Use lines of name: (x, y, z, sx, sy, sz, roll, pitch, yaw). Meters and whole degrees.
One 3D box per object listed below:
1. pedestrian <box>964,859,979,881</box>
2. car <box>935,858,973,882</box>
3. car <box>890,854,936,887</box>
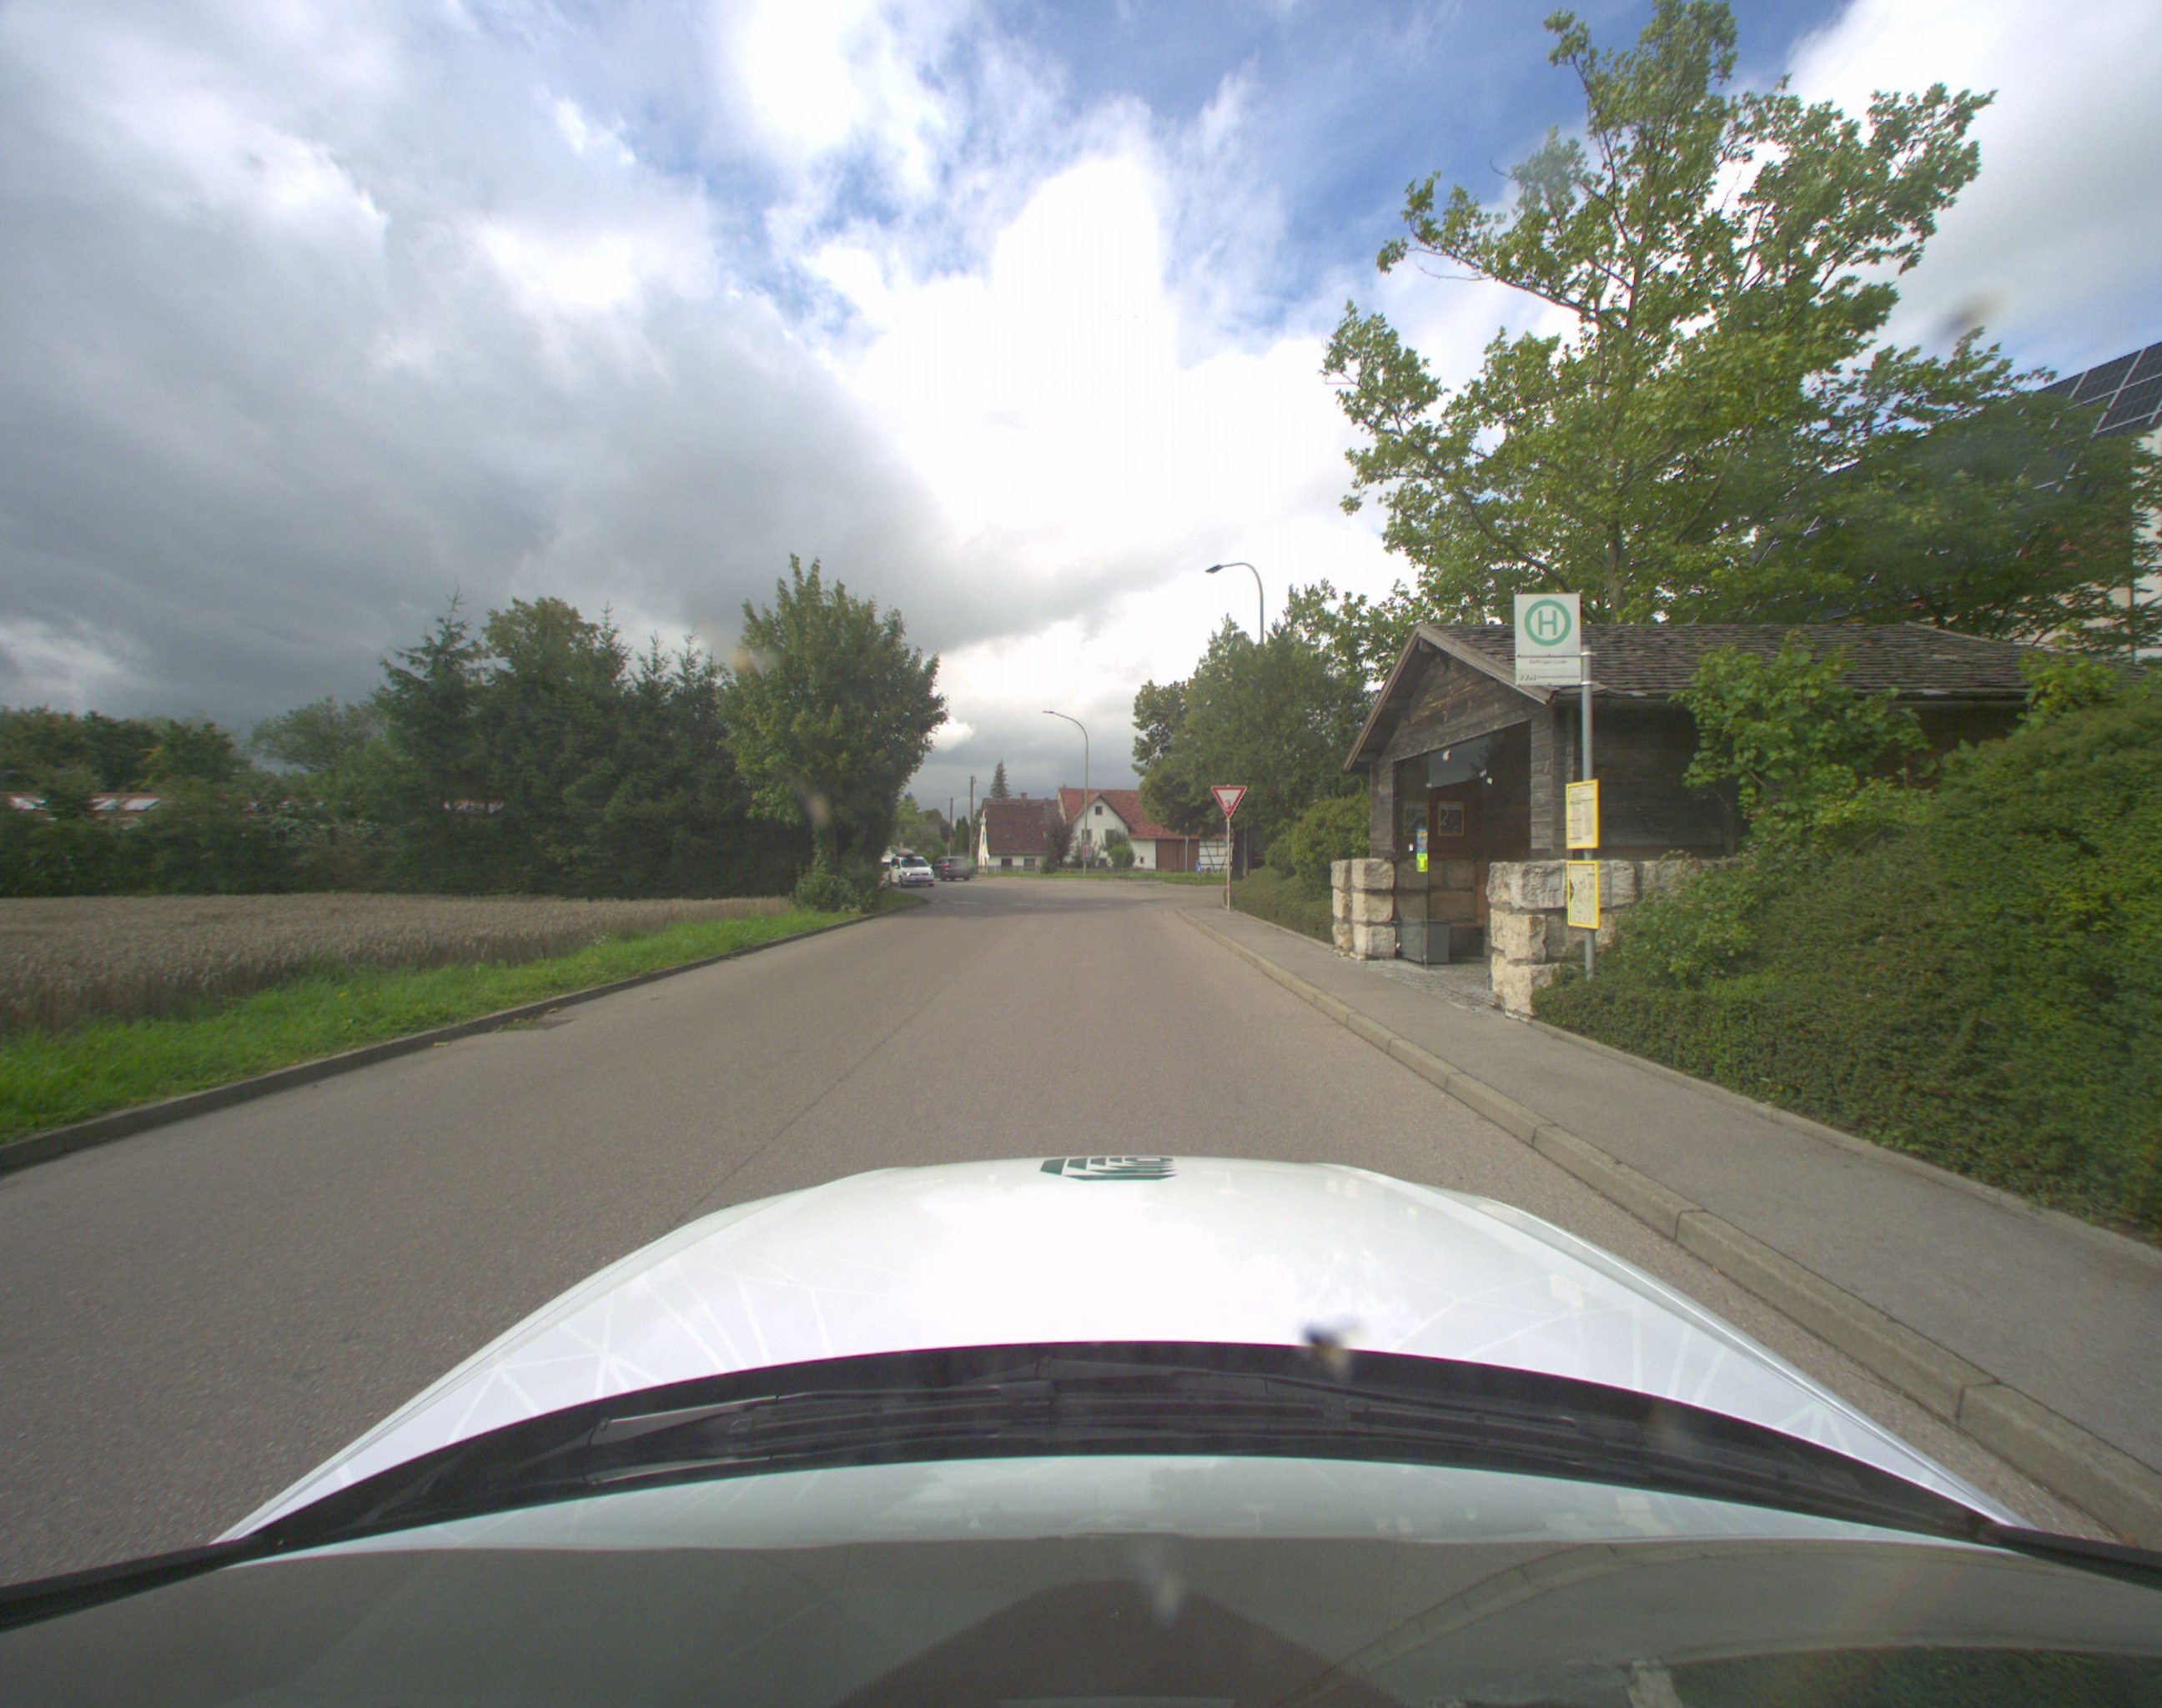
pedestrian: (-8.350, 1.231, 62.312, 0.793, 1.665, 0.705, 5, -3, -31)
car: (-8.205, 0.971, 52.325, 1.804, 1.462, 3.639, 0, 0, -19)
car: (-9.129, 0.886, 44.018, 1.706, 1.665, 4.002, -1, 0, -22)
